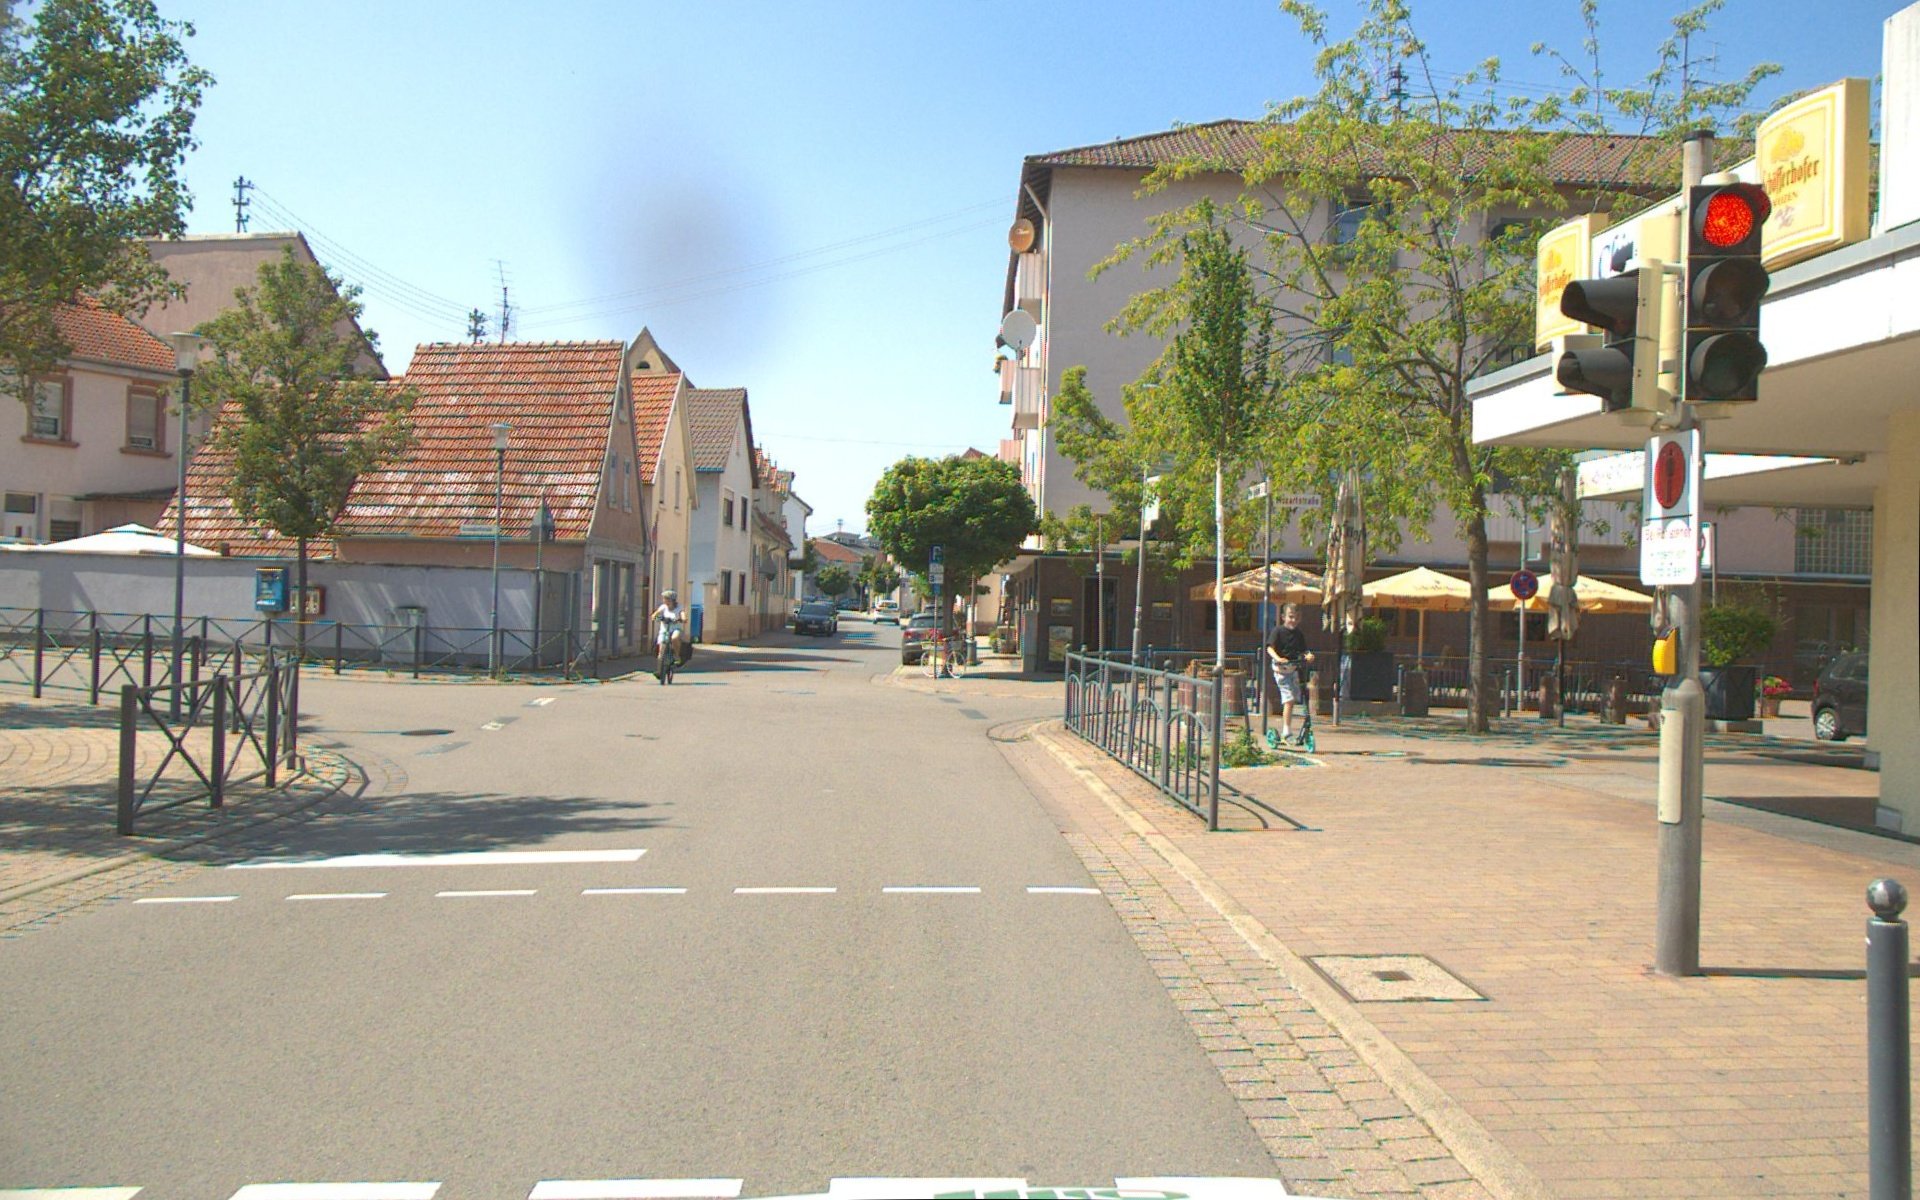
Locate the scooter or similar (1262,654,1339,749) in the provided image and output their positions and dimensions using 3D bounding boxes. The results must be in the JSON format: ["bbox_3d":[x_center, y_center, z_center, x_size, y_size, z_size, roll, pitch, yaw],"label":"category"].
[{"bbox_3d":[3.399,1.003,16.533,0.372,0.889,0.886,2,-1,-16],"label":"scooter or similar"}]

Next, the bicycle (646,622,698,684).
[{"bbox_3d":[-5.395,0.980,31.071,0.660,1.113,1.895,0,0,-1],"label":"bicycle"}]

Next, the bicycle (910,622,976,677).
[{"bbox_3d":[-0.409,1.150,38.584,0.523,1.214,1.648,2,-1,-44],"label":"bicycle"}]

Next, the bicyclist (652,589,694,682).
[{"bbox_3d":[-5.380,0.656,31.022,0.655,1.720,0.761,1,-1,-1],"label":"bicyclist"}]

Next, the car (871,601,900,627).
[{"bbox_3d":[-5.023,0.943,112.620,1.796,1.681,3.999,2,0,-1],"label":"car"}]

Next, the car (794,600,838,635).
[{"bbox_3d":[-6.782,0.827,78.069,1.679,1.543,3.786,2,0,0],"label":"car"}]

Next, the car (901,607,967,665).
[{"bbox_3d":[-0.703,1.001,47.353,1.768,1.528,4.000,2,0,0],"label":"car"}]

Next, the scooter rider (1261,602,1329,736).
[{"bbox_3d":[3.346,0.685,16.554,0.508,1.308,0.416,2,-1,-17],"label":"scooter rider"}]
